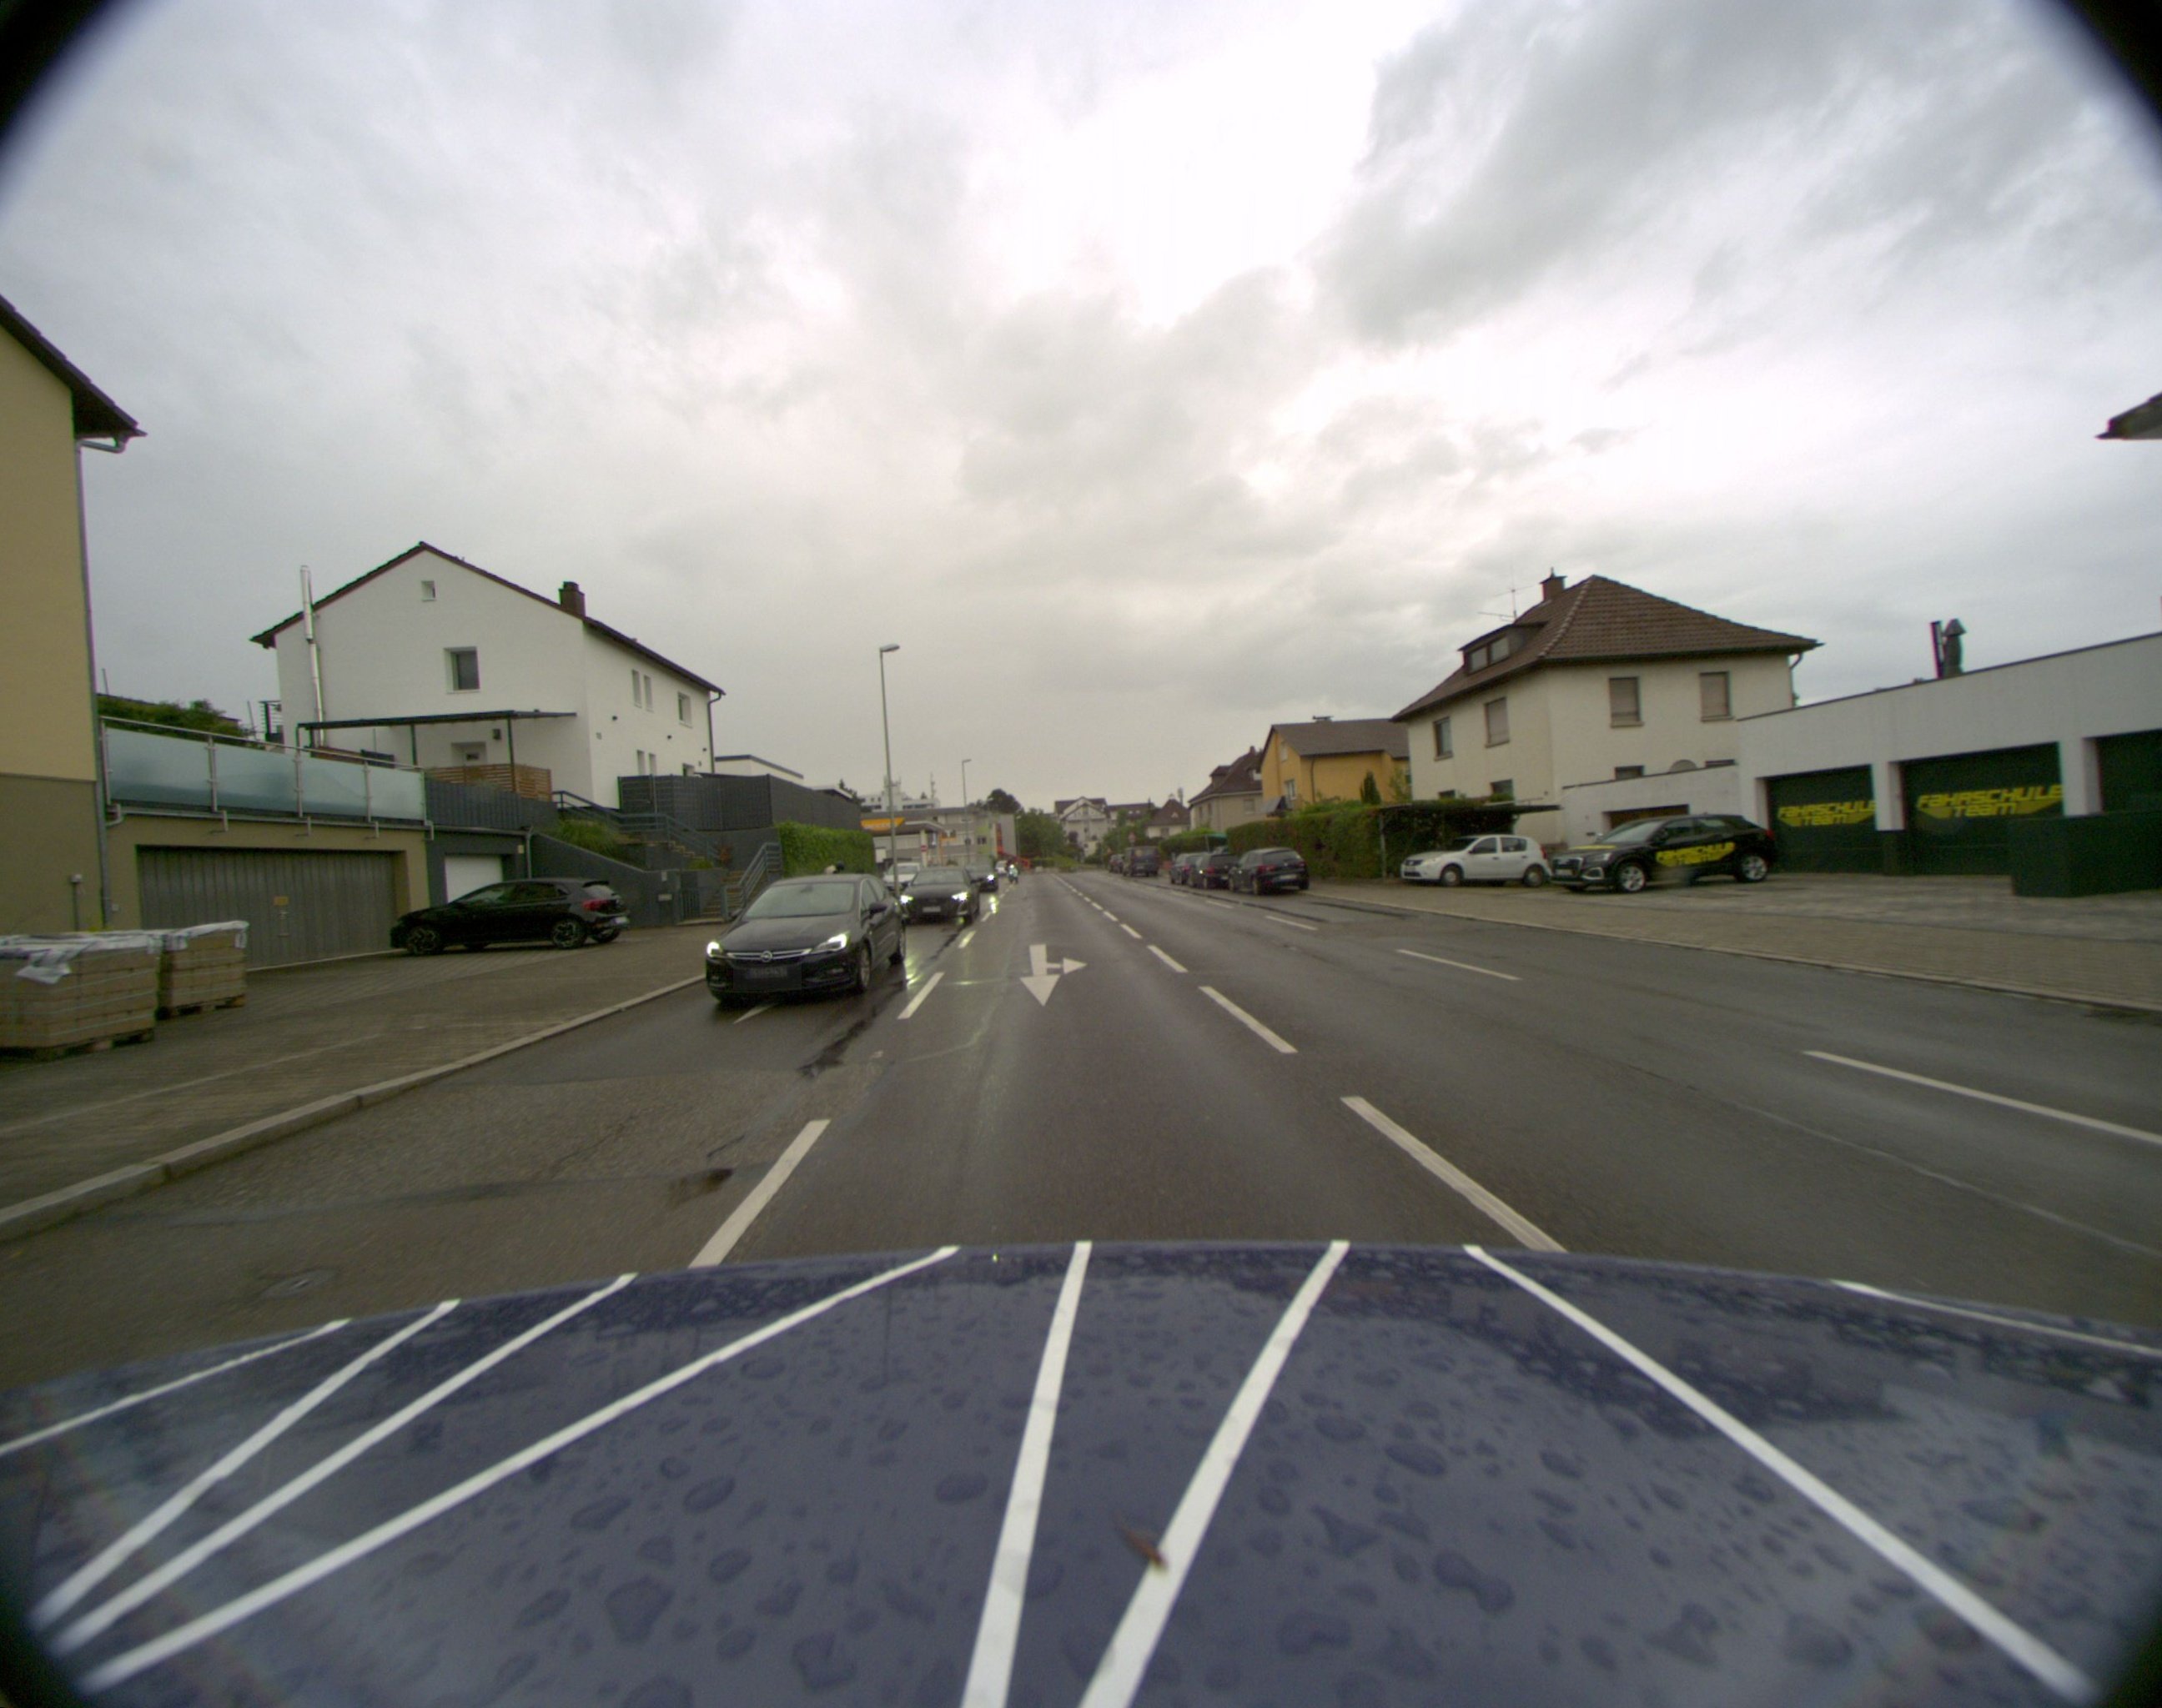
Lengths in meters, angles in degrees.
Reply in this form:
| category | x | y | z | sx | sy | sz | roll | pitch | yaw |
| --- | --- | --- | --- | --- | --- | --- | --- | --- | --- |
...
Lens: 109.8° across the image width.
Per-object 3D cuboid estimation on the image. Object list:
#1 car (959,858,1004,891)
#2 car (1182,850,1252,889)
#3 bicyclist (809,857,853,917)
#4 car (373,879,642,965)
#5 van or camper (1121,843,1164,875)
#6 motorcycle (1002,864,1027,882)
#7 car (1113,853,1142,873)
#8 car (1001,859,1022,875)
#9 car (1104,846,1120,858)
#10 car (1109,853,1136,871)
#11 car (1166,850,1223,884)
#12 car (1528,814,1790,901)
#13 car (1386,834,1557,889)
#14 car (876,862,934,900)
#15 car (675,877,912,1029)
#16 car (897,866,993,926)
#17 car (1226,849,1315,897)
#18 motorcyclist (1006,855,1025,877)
| category | x | y | z | sx | sy | sz | roll | pitch | yaw |
| --- | --- | --- | --- | --- | --- | --- | --- | --- | --- |
| car | -4.982 | 1.072 | 38.399 | 1.841 | 1.447 | 4.002 | -2 | -4 | -2 |
| car | 5.509 | 0.594 | 31.349 | 1.810 | 1.407 | 3.998 | -2 | 0 | -5 |
| bicyclist | -7.092 | 0.921 | 21.575 | 0.809 | 1.633 | 0.906 | -2 | 1 | 7 |
| car | -11.510 | 1.324 | 15.517 | 4.000 | 1.395 | 1.672 | -2 | 0 | -9 |
| van or camper | 4.151 | 0.309 | 52.198 | 2.190 | 2.002 | 5.132 | -3 | 1 | -3 |
| motorcycle | -4.424 | 1.250 | 50.469 | 0.945 | 1.101 | 2.402 | -3 | 1 | -22 |
| car | 3.781 | 0.718 | 62.277 | 1.889 | 1.477 | 3.999 | -2 | 0 | -2 |
| car | -6.633 | 1.237 | 72.695 | 1.841 | 1.472 | 3.999 | -2 | -1 | -5 |
| car | 4.371 | -0.263 | 107.364 | 1.999 | 1.565 | 3.998 | -3 | 1 | -2 |
| car | 3.576 | 0.664 | 66.734 | 1.889 | 1.477 | 3.998 | -2 | 0 | -3 |
| car | 5.394 | 0.592 | 36.625 | 1.810 | 1.505 | 3.998 | -2 | 0 | -5 |
| car | 12.140 | 0.069 | 16.148 | 4.110 | 1.412 | 1.884 | -5 | 1 | -2 |
| car | 11.264 | 0.234 | 22.040 | 4.112 | 1.475 | 1.839 | 1 | -1 | -9 |
| car | -7.898 | 1.171 | 34.371 | 1.737 | 1.481 | 3.999 | -2 | 0 | -2 |
| car | -3.531 | 1.123 | 10.180 | 1.841 | 1.390 | 3.998 | -2 | 1 | -4 |
| car | -3.652 | 1.113 | 21.315 | 1.910 | 1.389 | 4.857 | -3 | -2 | -2 |
| car | 6.221 | 0.578 | 25.438 | 1.809 | 1.407 | 3.999 | -2 | 0 | -2 |
| motorcyclist | -4.321 | 0.786 | 50.183 | 0.954 | 1.413 | 0.991 | -3 | 1 | -22 |
